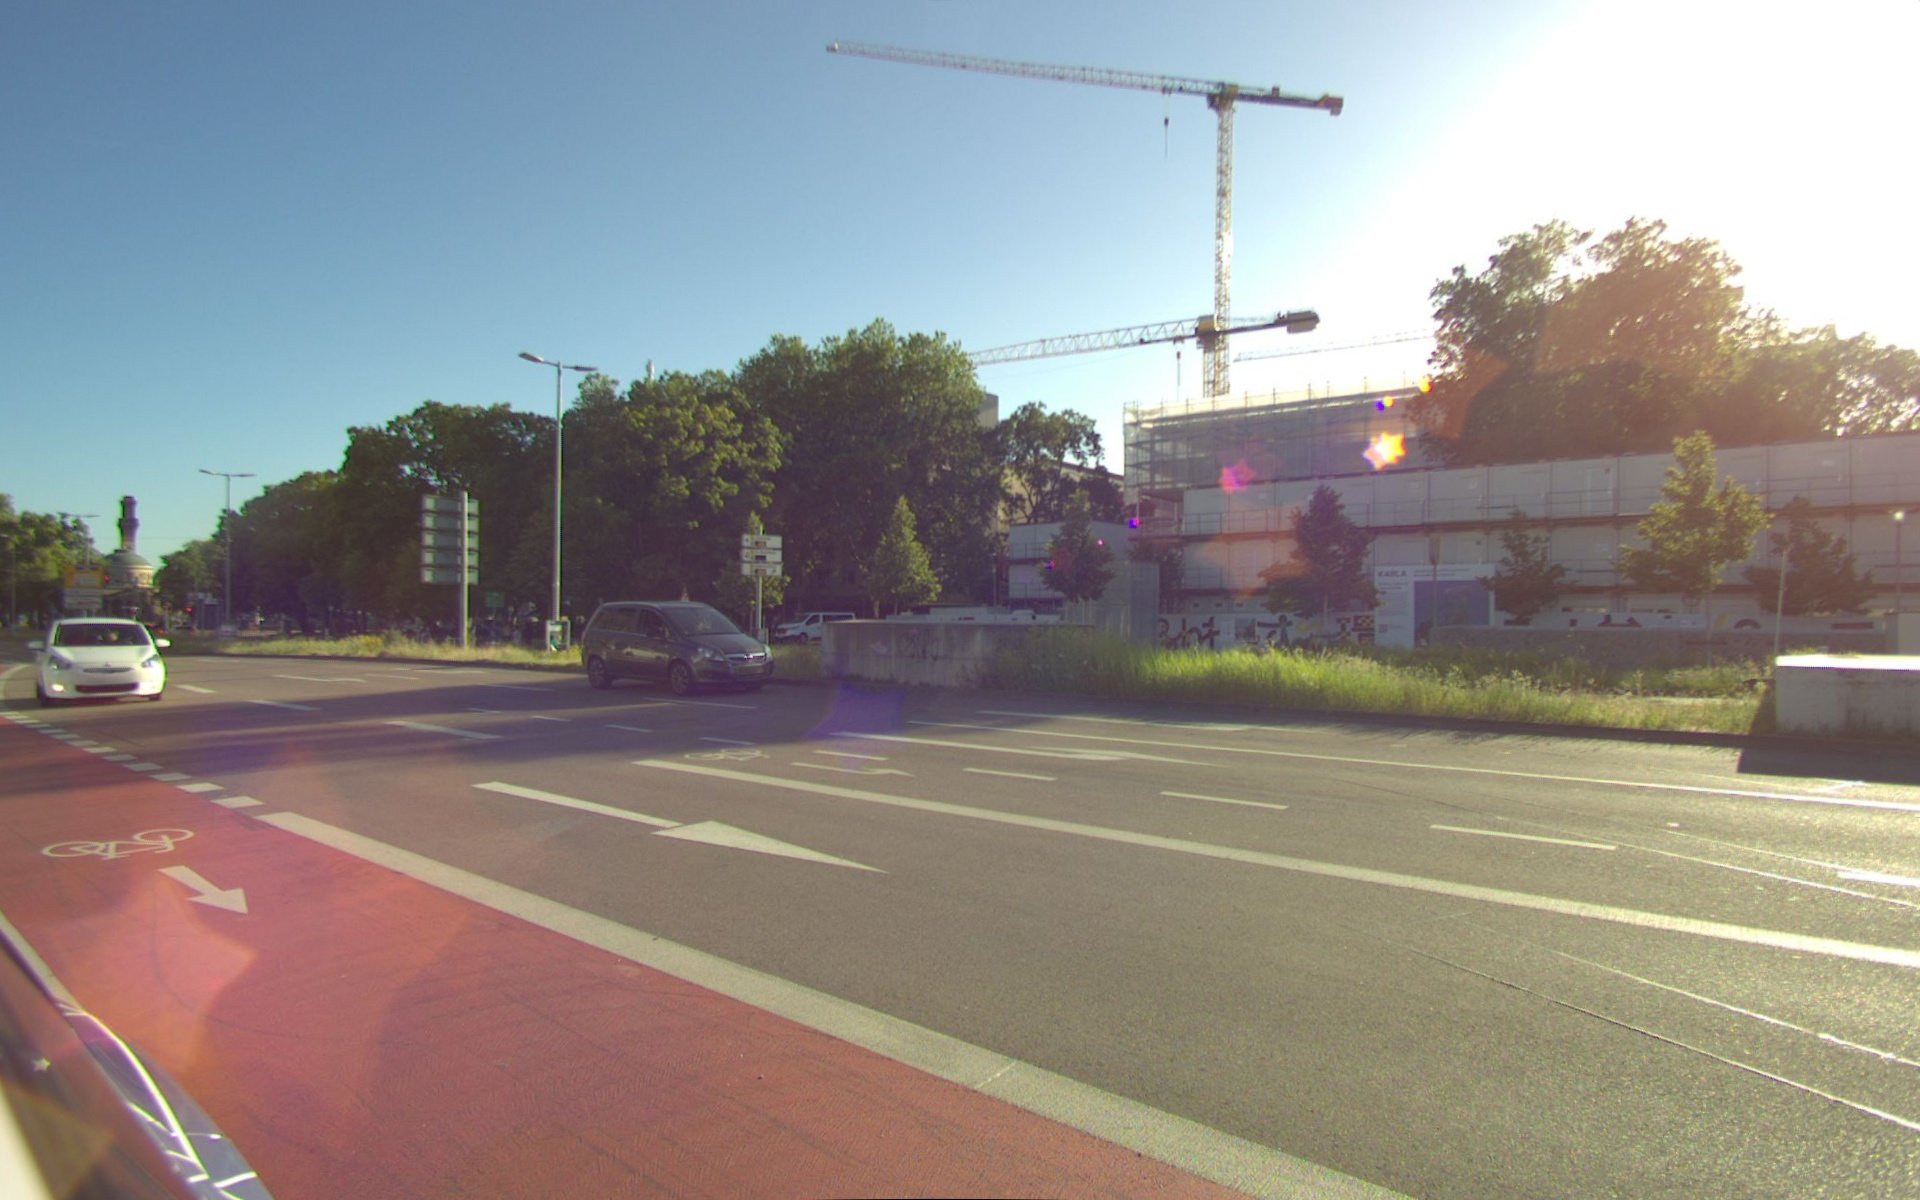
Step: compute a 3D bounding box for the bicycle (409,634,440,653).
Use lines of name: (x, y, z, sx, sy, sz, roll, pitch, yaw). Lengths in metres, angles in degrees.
bicycle: (-30.328, 2.460, 57.266, 2.239, 1.030, 0.631, -1, -2, 36)

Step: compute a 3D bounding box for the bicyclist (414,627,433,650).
bicyclist: (-30.358, 2.164, 57.302, 0.884, 1.292, 0.631, -1, -2, 36)

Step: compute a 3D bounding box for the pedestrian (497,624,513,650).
pedestrian: (-30.082, 2.441, 66.842, 0.762, 1.738, 0.698, -2, -2, 41)

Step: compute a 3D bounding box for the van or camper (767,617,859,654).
van or camper: (-8.930, 2.115, 61.940, 1.948, 2.029, 5.576, -1, 0, 42)

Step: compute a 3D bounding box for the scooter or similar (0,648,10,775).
scooter or similar: (-10.092, 1.093, 10.103, 1.664, 1.211, 0.721, -1, -1, 41)

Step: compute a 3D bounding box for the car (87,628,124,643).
car: (-79.038, 3.272, 93.568, 3.995, 1.409, 1.849, -1, -2, 39)

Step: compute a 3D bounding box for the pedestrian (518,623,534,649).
pedestrian: (-29.181, 2.428, 67.996, 0.762, 1.738, 0.698, -2, -2, 41)

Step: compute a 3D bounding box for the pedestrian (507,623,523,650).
pedestrian: (-29.673, 2.435, 67.462, 0.762, 1.738, 0.656, -2, -2, 41)

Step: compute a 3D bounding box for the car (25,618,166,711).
car: (-15.674, 1.089, 18.285, 1.655, 1.460, 3.891, -1, -1, -45)

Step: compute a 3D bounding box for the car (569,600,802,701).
car: (-5.098, 0.843, 18.470, 4.479, 1.619, 1.973, -1, -1, 41)

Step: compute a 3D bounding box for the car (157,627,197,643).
car: (-75.745, 3.381, 97.889, 3.992, 1.519, 1.976, -1, -2, 36)

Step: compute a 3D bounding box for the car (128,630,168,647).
car: (-69.769, 3.259, 86.936, 3.996, 1.409, 1.849, -1, -2, 40)

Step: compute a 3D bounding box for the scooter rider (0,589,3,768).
scooter rider: (-10.112, 0.785, 10.108, 0.811, 1.788, 0.721, -1, -1, 41)
